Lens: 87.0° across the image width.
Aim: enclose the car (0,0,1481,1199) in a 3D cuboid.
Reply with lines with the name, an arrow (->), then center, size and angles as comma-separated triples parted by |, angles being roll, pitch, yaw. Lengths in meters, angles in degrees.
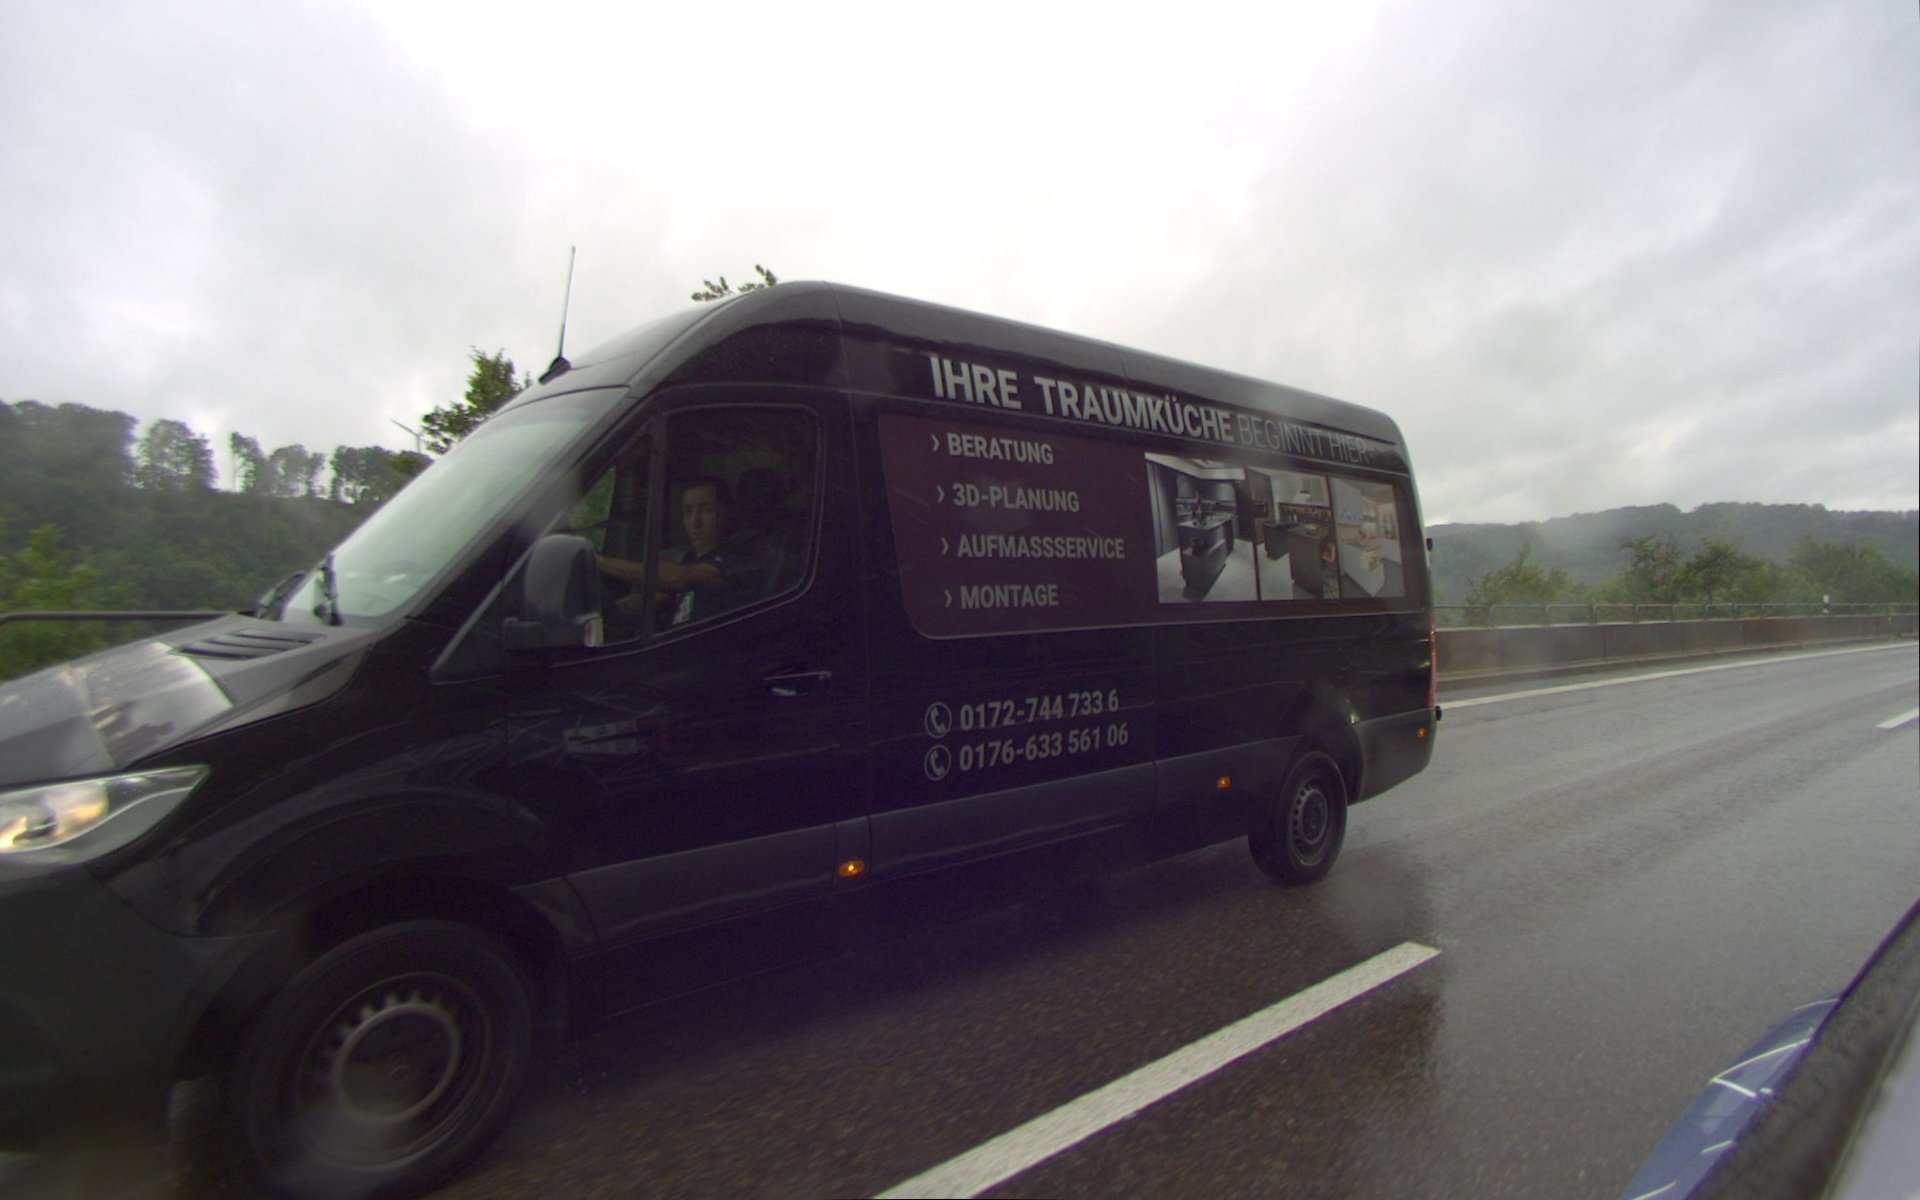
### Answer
car -> -0.031, 0.070, 4.669 | 6.587, 2.525, 1.997 | 0, 1, -41
